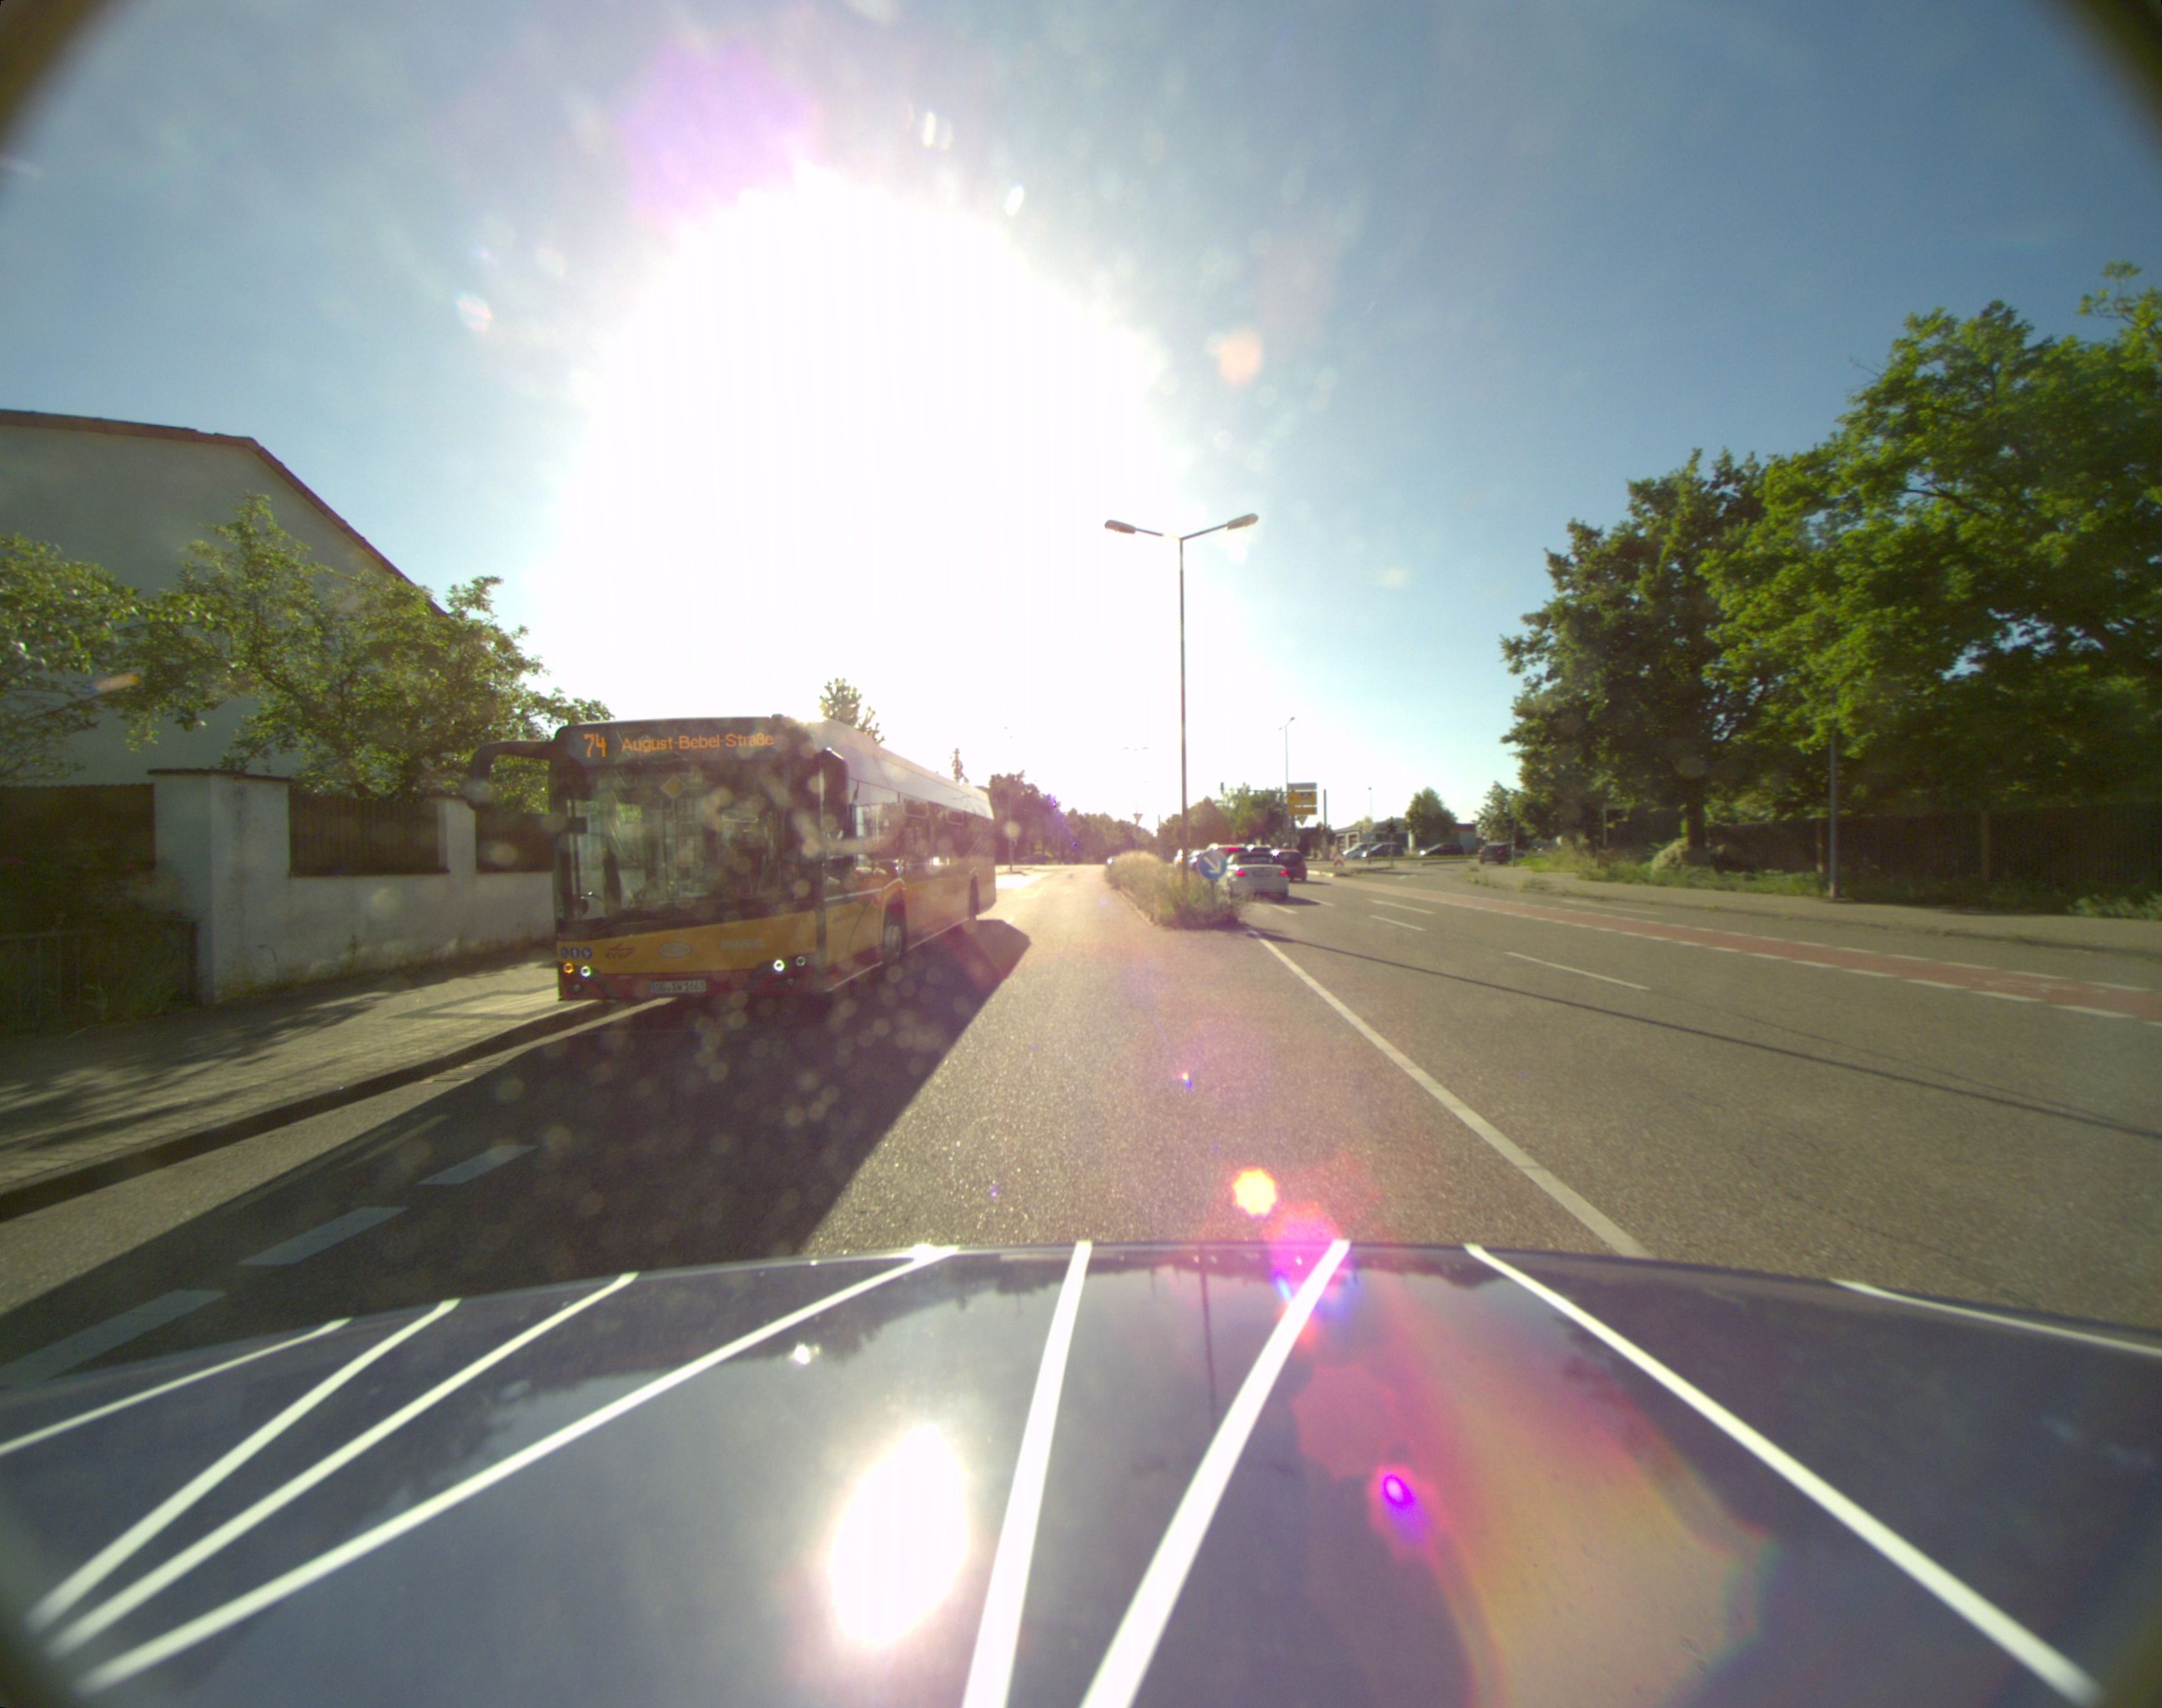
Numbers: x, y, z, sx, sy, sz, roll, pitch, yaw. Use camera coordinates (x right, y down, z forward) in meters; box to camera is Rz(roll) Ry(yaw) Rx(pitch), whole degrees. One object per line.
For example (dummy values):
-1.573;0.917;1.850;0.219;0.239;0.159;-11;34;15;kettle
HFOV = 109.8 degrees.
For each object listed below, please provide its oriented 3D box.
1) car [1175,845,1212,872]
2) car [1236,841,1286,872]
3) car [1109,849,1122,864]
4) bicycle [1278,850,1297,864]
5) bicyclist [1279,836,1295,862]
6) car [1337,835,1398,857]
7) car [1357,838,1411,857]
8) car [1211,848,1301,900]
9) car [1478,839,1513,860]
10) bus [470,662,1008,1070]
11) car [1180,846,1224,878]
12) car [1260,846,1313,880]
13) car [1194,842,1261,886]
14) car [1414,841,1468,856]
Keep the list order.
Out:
6.618;0.251;45.013;1.797;1.497;4.531;-1;1;4;car
10.068;0.116;42.876;1.998;1.634;4.531;-1;1;4;car
4.759;0.377;106.246;1.729;2.002;4.000;0;1;2;car
13.640;0.185;50.178;0.750;0.843;1.990;-1;1;3;bicycle
13.639;-0.365;50.297;0.746;1.692;1.242;-1;1;3;bicyclist
28.528;-0.790;75.639;5.272;2.001;2.048;-1;-1;-1;car
27.326;-0.590;68.585;4.037;1.634;1.893;-1;-1;-1;car
5.386;0.557;23.935;1.998;1.442;4.399;-1;1;3;car
29.090;-0.344;53.274;1.710;1.422;4.008;1;1;34;car
-3.501;-0.037;12.658;2.764;3.439;12.397;0;2;3;bus
5.830;0.366;36.977;1.751;1.474;3.888;-1;1;4;car
9.509;0.394;35.352;1.649;1.474;3.714;-1;1;4;car
5.780;0.359;30.497;1.998;1.607;4.531;-1;1;3;car
32.603;-0.494;68.882;4.037;1.267;1.893;-1;-2;-1;car
